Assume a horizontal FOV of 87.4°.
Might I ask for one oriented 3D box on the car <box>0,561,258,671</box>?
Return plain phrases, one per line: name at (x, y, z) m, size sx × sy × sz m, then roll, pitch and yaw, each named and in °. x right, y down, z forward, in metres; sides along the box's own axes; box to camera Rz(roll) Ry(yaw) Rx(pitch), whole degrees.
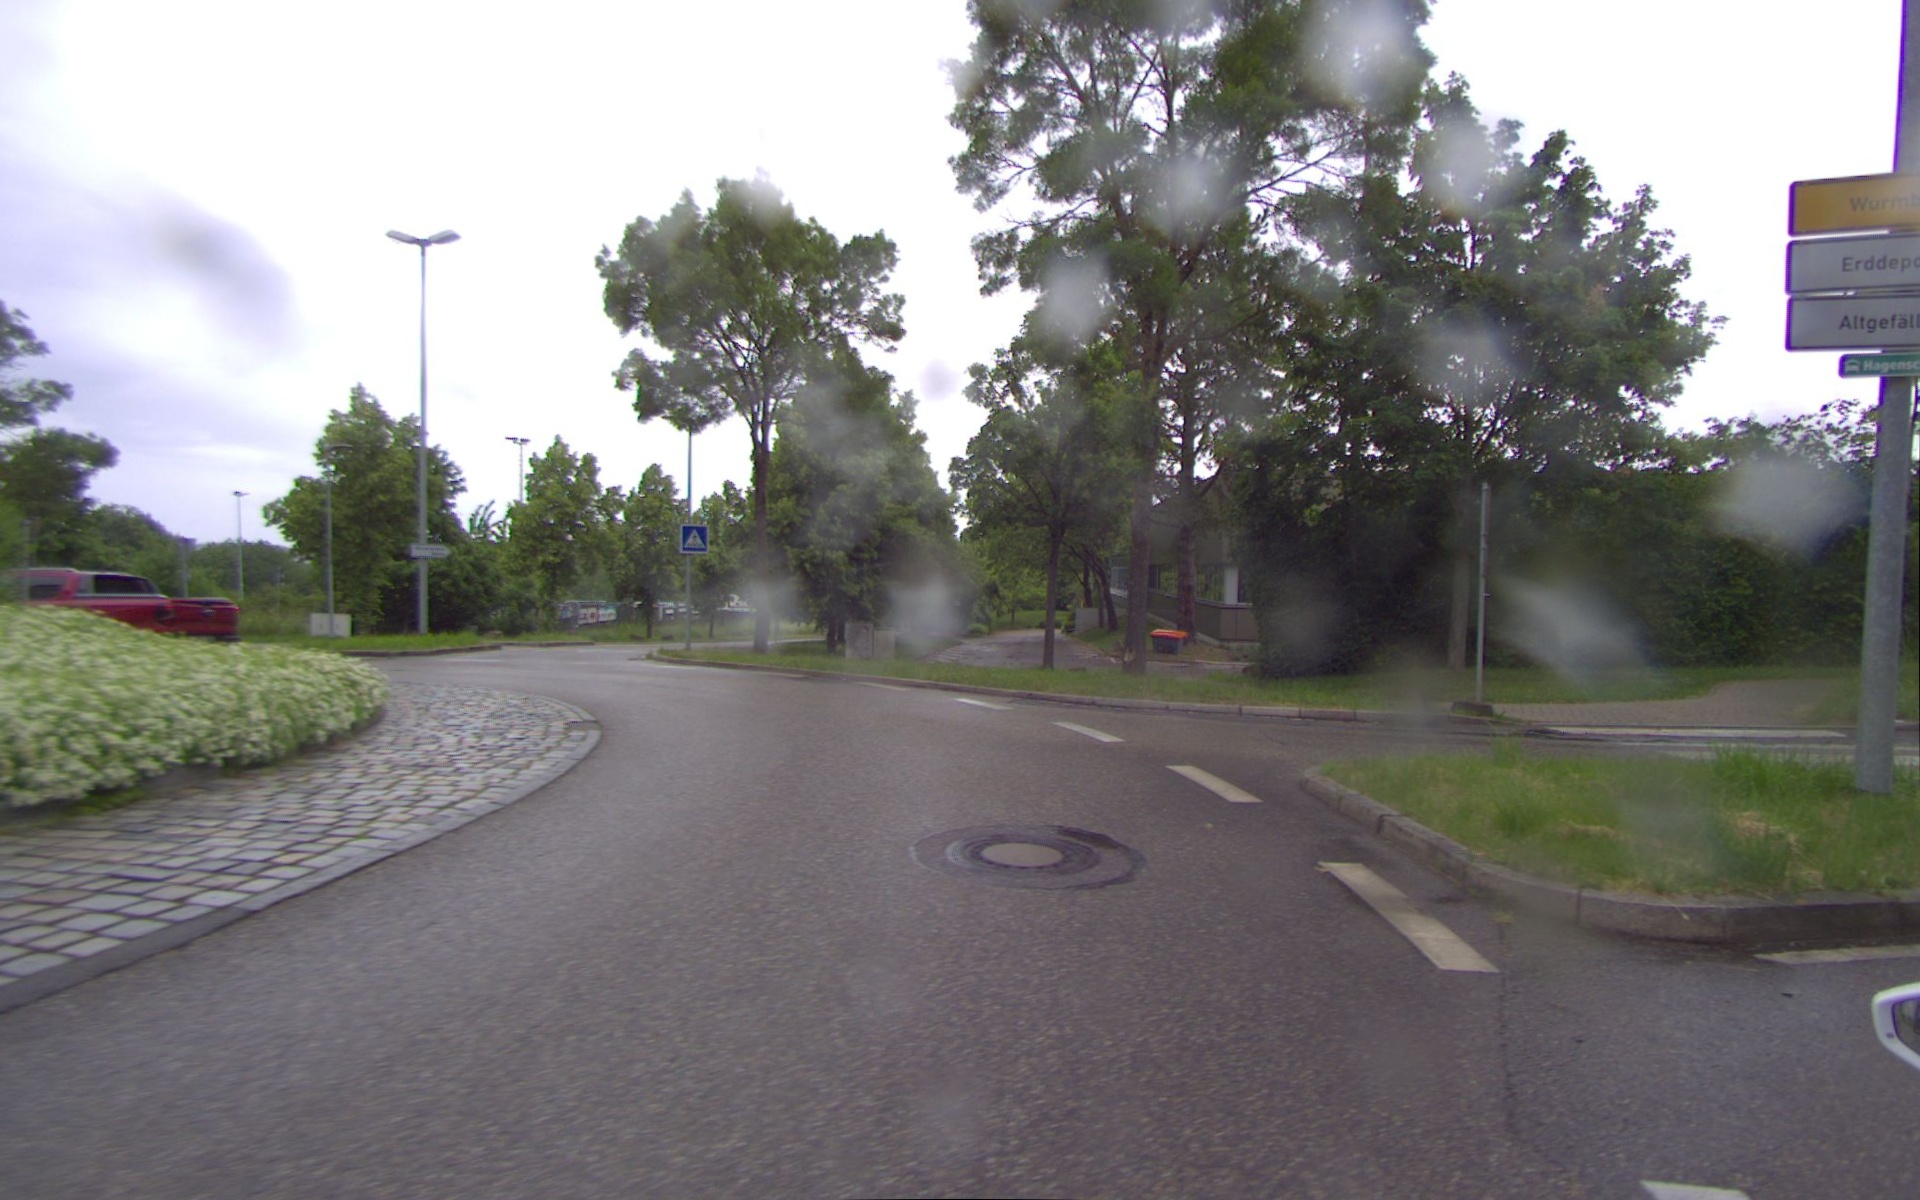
car at (-15.511, 0.245, 17.600) m, size 5.009 × 1.819 × 2.000 m, roll 0°, pitch 1°, yaw 1°
